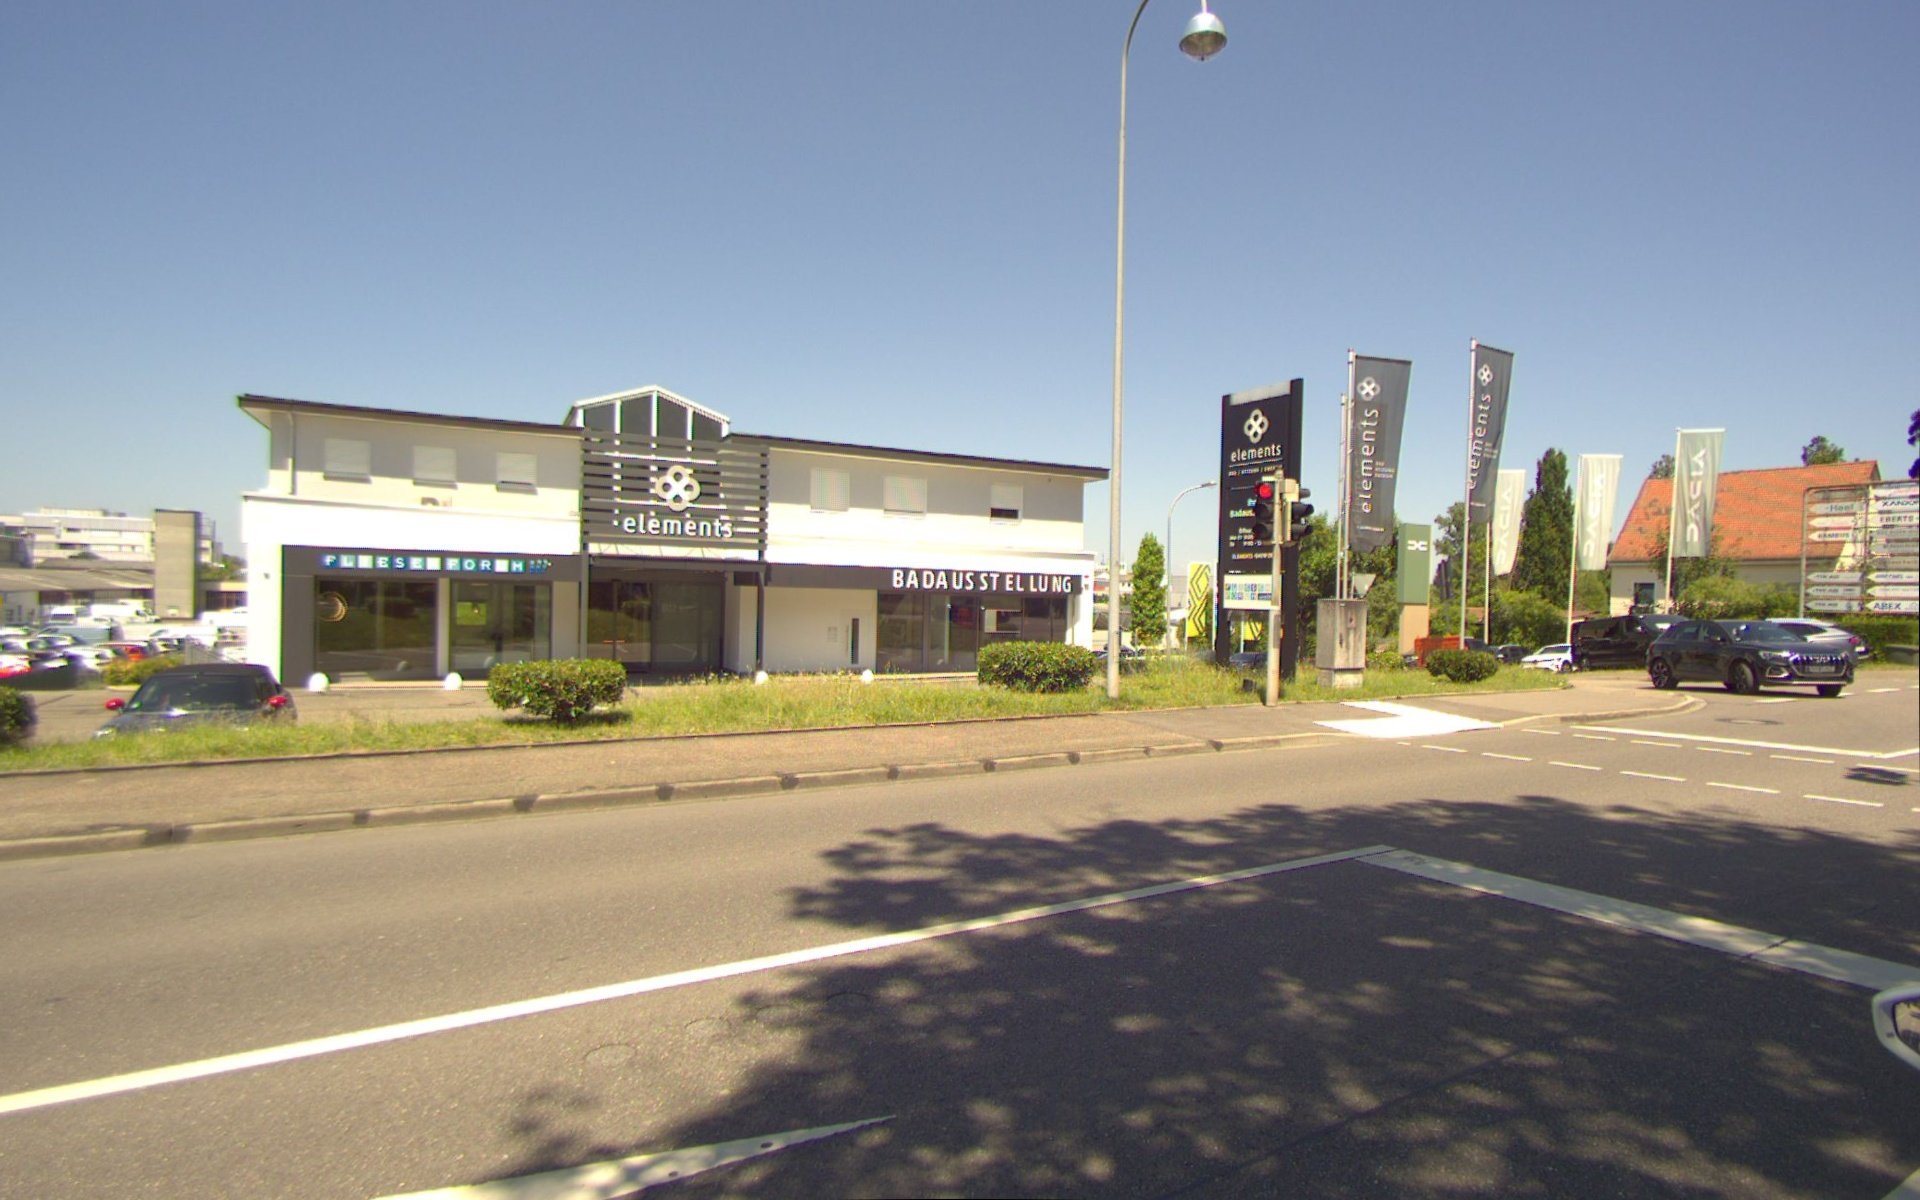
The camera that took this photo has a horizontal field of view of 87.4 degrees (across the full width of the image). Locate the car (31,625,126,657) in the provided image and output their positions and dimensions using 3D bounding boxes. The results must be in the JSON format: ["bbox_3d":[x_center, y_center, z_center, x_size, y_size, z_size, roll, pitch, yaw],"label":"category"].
[{"bbox_3d":[-53.310,2.478,60.839,3.953,1.839,1.984,1,0,-30],"label":"car"}]

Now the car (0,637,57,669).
[{"bbox_3d":[-51.094,2.811,53.619,3.953,1.627,1.823,2,-1,-30],"label":"car"}]

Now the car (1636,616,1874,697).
[{"bbox_3d":[16.922,1.129,21.711,1.890,1.546,4.309,1,-1,3],"label":"car"}]

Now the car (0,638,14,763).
[{"bbox_3d":[-13.263,1.387,11.906,1.871,1.709,4.313,2,0,-28],"label":"car"}]

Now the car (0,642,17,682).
[{"bbox_3d":[-44.186,2.691,43.913,3.953,1.674,1.735,2,0,-30],"label":"car"}]

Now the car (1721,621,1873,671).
[{"bbox_3d":[26.545,1.425,31.941,1.586,1.446,3.466,1,-1,-36],"label":"car"}]

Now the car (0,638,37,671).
[{"bbox_3d":[-48.410,2.723,50.011,3.283,1.567,1.517,2,0,-30],"label":"car"}]

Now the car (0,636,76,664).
[{"bbox_3d":[-53.410,2.869,57.485,3.953,1.494,1.742,2,0,-30],"label":"car"}]

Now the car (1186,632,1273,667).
[{"bbox_3d":[12.935,2.369,48.465,1.736,1.432,3.967,2,0,-30],"label":"car"}]

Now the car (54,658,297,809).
[{"bbox_3d":[-9.830,1.571,12.880,1.756,1.442,3.327,1,0,-26],"label":"car"}]

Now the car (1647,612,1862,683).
[{"bbox_3d":[21.633,1.243,27.566,4.227,1.740,1.884,1,0,23],"label":"car"}]

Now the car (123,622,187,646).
[{"bbox_3d":[-53.990,2.295,67.442,3.089,1.554,1.672,2,0,-30],"label":"car"}]

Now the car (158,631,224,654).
[{"bbox_3d":[-46.716,2.576,61.086,3.009,1.316,1.295,2,0,-31],"label":"car"}]

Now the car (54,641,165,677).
[{"bbox_3d":[-42.683,2.944,50.512,3.953,1.657,1.835,2,-1,-30],"label":"car"}]

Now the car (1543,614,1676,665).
[{"bbox_3d":[21.888,1.296,33.946,1.586,1.638,3.466,1,-1,-36],"label":"car"}]

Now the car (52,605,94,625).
[{"bbox_3d":[-88.308,1.466,100.044,1.972,1.853,3.978,2,0,-23],"label":"car"}]

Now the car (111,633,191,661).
[{"bbox_3d":[-45.640,2.669,56.752,3.270,1.484,1.494,2,0,-31],"label":"car"}]

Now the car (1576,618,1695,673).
[{"bbox_3d":[23.699,1.561,35.299,1.561,1.736,3.120,2,0,-39],"label":"car"}]

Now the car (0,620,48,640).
[{"bbox_3d":[-71.609,2.294,76.298,3.089,1.403,1.672,2,0,-30],"label":"car"}]

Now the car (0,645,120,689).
[{"bbox_3d":[-39.136,2.880,43.631,3.773,1.750,1.738,2,0,-30],"label":"car"}]

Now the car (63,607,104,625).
[{"bbox_3d":[-83.711,1.544,95.990,1.975,1.617,3.972,1,-1,-27],"label":"car"}]

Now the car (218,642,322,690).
[{"bbox_3d":[-31.820,3.010,46.465,1.838,1.965,3.790,1,0,8],"label":"car"}]

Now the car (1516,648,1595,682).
[{"bbox_3d":[25.322,2.726,42.686,3.211,1.242,1.736,1,0,-35],"label":"car"}]

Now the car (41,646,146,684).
[{"bbox_3d":[-40.541,3.027,47.110,3.427,1.614,1.712,2,0,-30],"label":"car"}]

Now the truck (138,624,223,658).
[{"bbox_3d":[-48.854,2.554,63.034,3.937,2.003,1.672,2,0,-31],"label":"truck"}]
